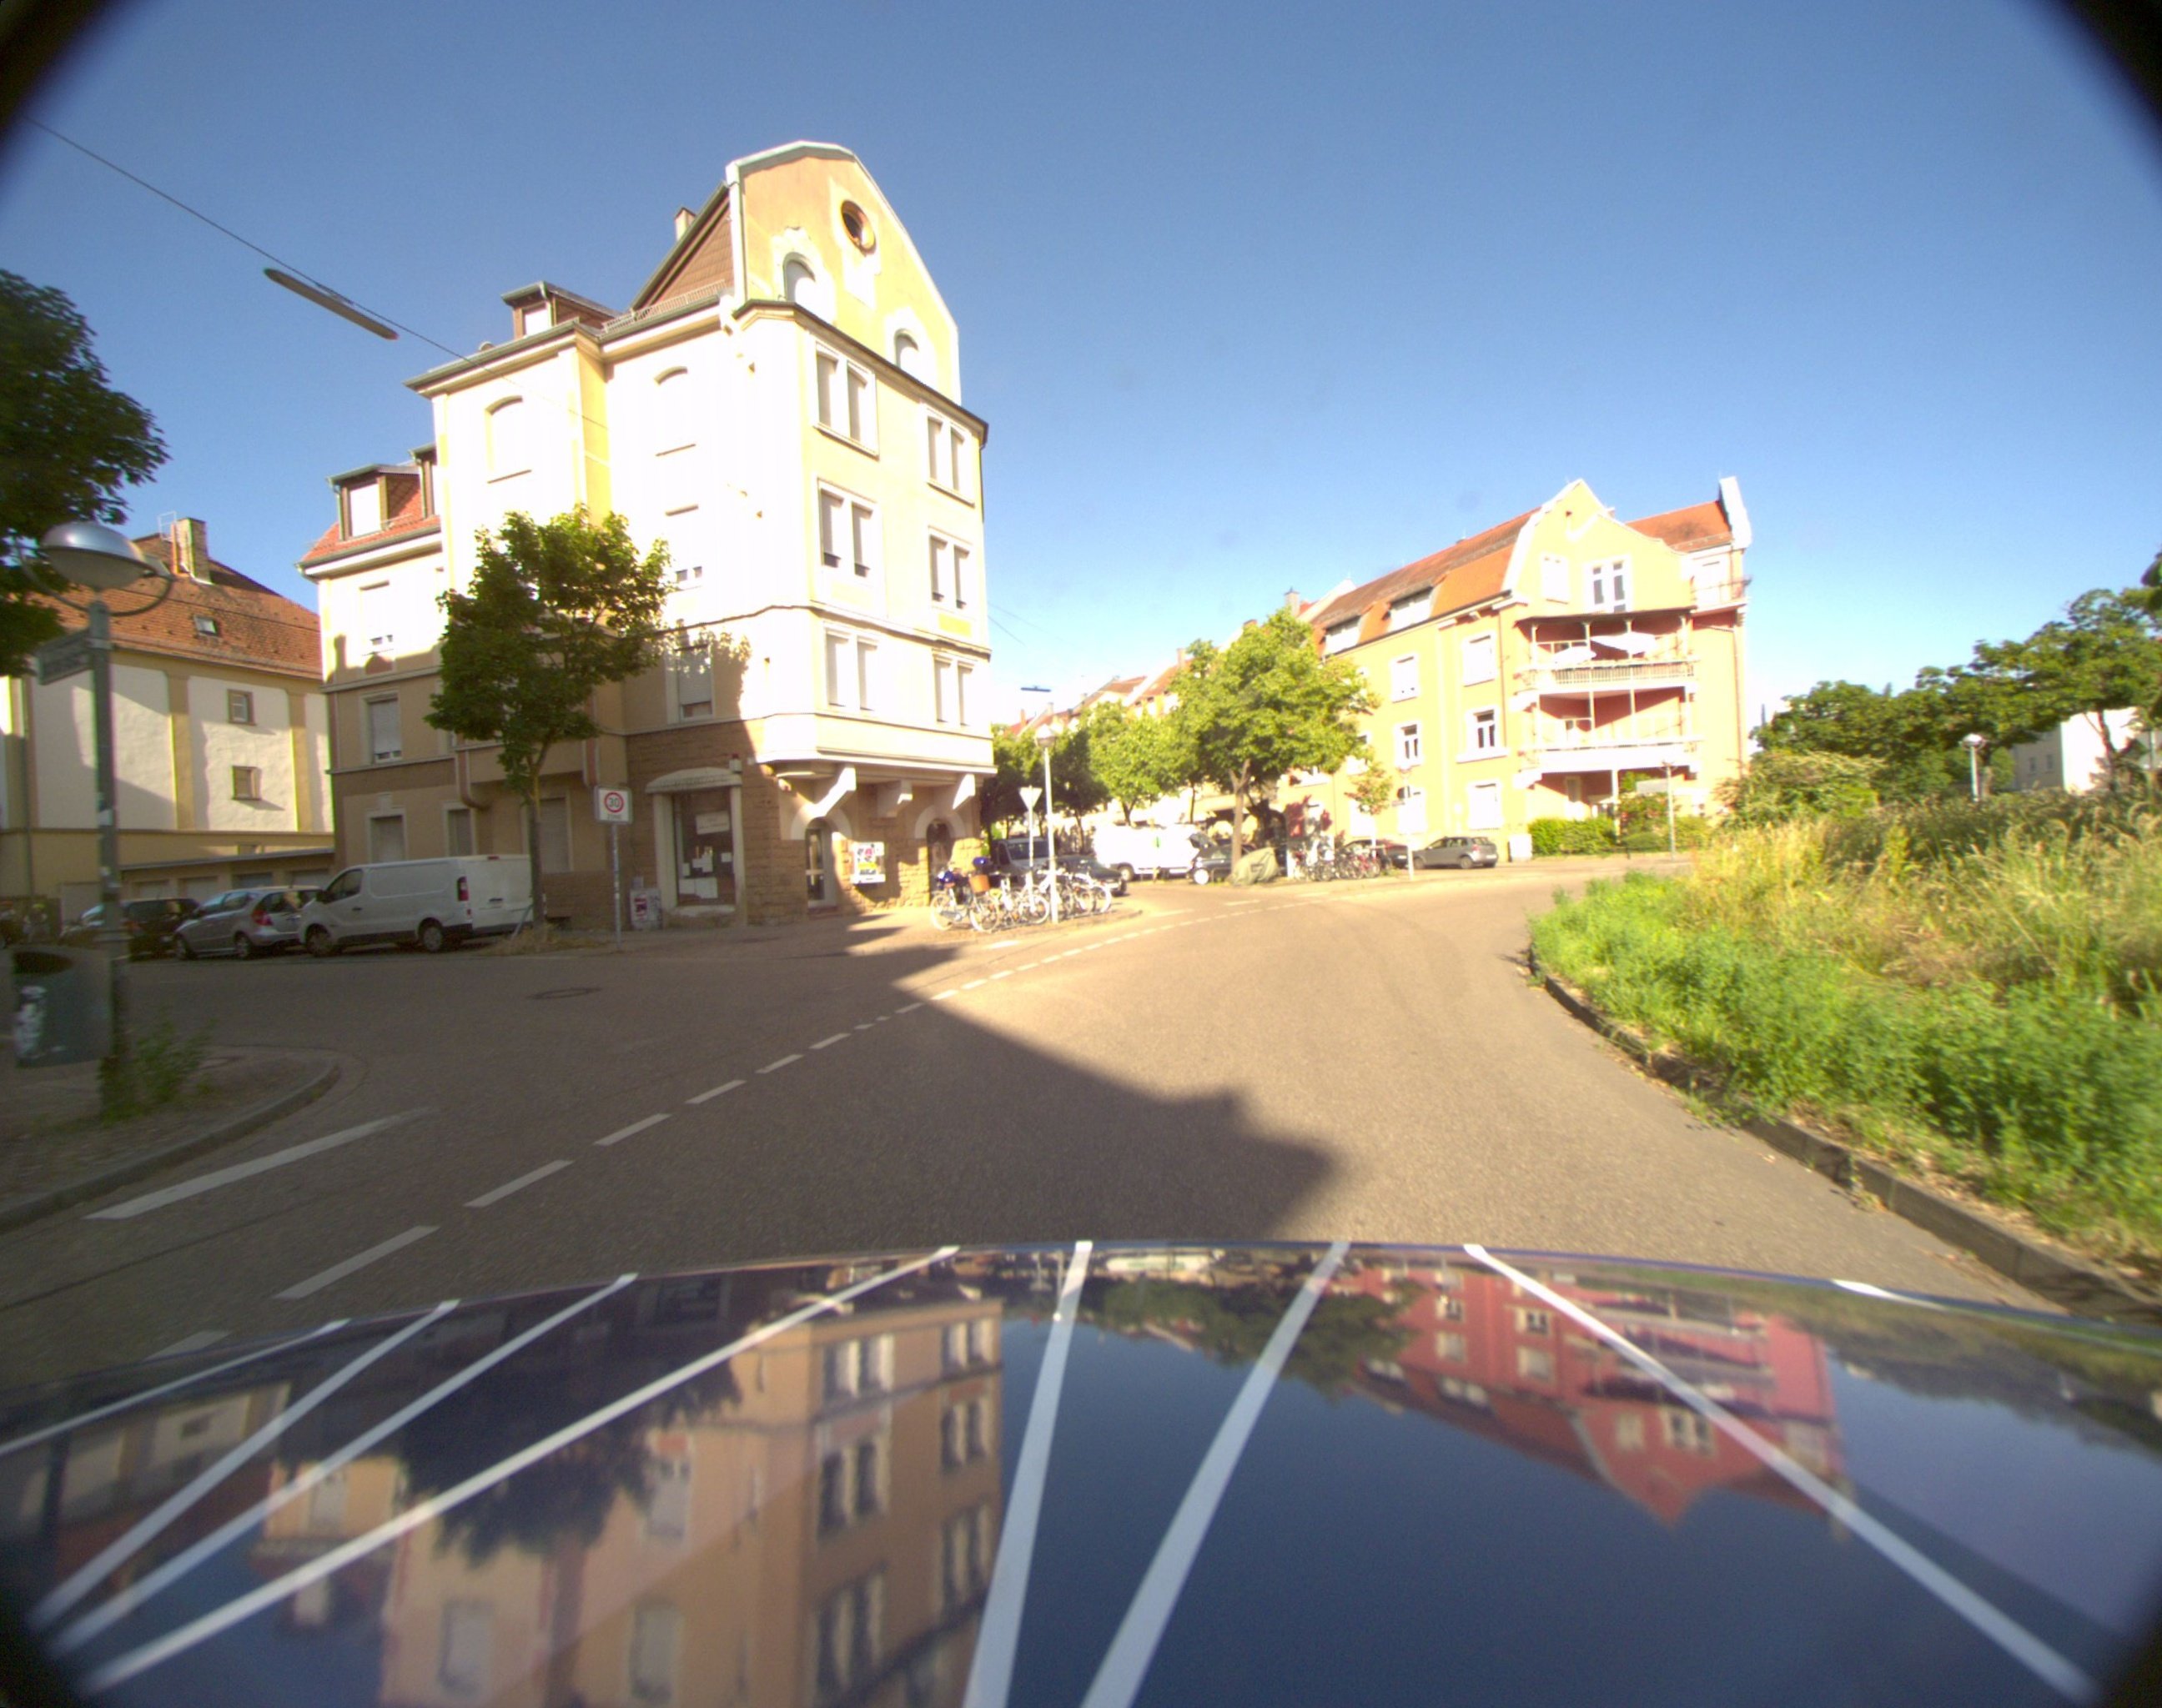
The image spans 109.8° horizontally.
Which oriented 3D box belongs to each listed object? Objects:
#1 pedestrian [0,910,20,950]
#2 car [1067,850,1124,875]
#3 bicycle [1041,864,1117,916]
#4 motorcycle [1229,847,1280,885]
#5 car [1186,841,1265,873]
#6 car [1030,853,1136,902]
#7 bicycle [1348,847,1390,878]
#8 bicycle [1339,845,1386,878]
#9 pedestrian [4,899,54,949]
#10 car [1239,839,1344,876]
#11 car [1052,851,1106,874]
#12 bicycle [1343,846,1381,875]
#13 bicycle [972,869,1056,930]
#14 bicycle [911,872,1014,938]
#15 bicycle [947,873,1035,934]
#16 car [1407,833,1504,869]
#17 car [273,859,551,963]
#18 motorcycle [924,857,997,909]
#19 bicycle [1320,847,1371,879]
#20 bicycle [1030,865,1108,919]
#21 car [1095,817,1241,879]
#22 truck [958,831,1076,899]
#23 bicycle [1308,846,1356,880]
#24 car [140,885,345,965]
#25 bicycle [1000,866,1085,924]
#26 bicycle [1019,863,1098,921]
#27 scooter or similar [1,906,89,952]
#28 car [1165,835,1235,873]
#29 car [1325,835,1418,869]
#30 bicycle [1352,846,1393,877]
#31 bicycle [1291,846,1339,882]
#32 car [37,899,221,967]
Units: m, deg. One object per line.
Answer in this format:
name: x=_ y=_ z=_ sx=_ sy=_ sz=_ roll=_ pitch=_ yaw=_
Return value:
pedestrian: x=-36.489 y=2.583 z=25.686 sx=0.554 sy=1.323 sz=0.539 roll=-3 pitch=0 yaw=18
car: x=0.953 y=0.544 z=48.943 sx=3.378 sy=1.461 sz=1.690 roll=-2 pitch=0 yaw=12
bicycle: x=-0.050 y=0.826 z=17.251 sx=1.714 sy=1.117 sz=0.484 roll=-2 pitch=1 yaw=36
motorcycle: x=6.047 y=0.400 z=26.455 sx=1.713 sy=1.263 sz=0.537 roll=-2 pitch=1 yaw=-21
car: x=7.055 y=0.148 z=37.190 sx=3.385 sy=1.438 sz=1.686 roll=-2 pitch=0 yaw=-12
car: x=-0.021 y=0.748 z=25.218 sx=1.690 sy=1.382 sz=3.913 roll=-4 pitch=1 yaw=-30
bicycle: x=10.460 y=0.296 z=27.636 sx=0.419 sy=1.083 sz=1.571 roll=-5 pitch=2 yaw=-23
bicycle: x=10.055 y=0.274 z=27.199 sx=0.500 sy=1.096 sz=1.647 roll=-5 pitch=2 yaw=-23
pedestrian: x=-36.498 y=2.430 z=26.359 sx=0.772 sy=1.651 sz=0.770 roll=-3 pitch=0 yaw=18
car: x=8.881 y=0.157 z=32.259 sx=3.919 sy=1.438 sz=1.688 roll=-2 pitch=0 yaw=-1
car: x=-0.117 y=0.551 z=51.831 sx=3.378 sy=1.461 sz=1.690 roll=-2 pitch=0 yaw=12
bicycle: x=10.919 y=0.238 z=29.573 sx=0.419 sy=1.080 sz=1.523 roll=-4 pitch=2 yaw=-23
bicycle: x=-1.377 y=0.896 z=15.310 sx=1.692 sy=1.139 sz=0.639 roll=-2 pitch=1 yaw=42
bicycle: x=-2.230 y=0.945 z=14.168 sx=1.863 sy=1.123 sz=0.701 roll=-3 pitch=2 yaw=36
bicycle: x=-1.780 y=0.945 z=14.821 sx=1.874 sy=1.084 sz=0.537 roll=-2 pitch=1 yaw=42
car: x=16.495 y=-0.106 z=33.633 sx=1.690 sy=1.438 sz=3.539 roll=-2 pitch=0 yaw=-26
car: x=-14.221 y=1.190 z=16.263 sx=4.553 sy=1.898 sz=2.143 roll=-3 pitch=0 yaw=13
motorcycle: x=-3.411 y=0.801 z=21.711 sx=0.698 sy=1.403 sz=2.255 roll=-1 pitch=0 yaw=33
bicycle: x=9.404 y=0.307 z=27.043 sx=0.658 sy=1.082 sz=1.726 roll=-5 pitch=2 yaw=-25
bicycle: x=-0.282 y=0.841 z=16.810 sx=1.692 sy=1.117 sz=0.484 roll=-3 pitch=1 yaw=33
car: x=4.045 y=-0.222 z=34.950 sx=6.364 sy=2.585 sz=2.106 roll=-2 pitch=0 yaw=14
truck: x=-2.748 y=0.439 z=30.303 sx=2.142 sy=2.279 sz=6.607 roll=-4 pitch=1 yaw=-28
bicycle: x=8.787 y=0.326 z=26.677 sx=0.590 sy=1.120 sz=1.599 roll=-5 pitch=2 yaw=-25
car: x=-19.335 y=1.627 z=17.556 sx=3.731 sy=1.564 sz=1.640 roll=-3 pitch=0 yaw=16
bicycle: x=-0.823 y=0.868 z=15.966 sx=1.692 sy=1.139 sz=0.618 roll=-3 pitch=1 yaw=33
bicycle: x=-0.507 y=0.825 z=16.445 sx=1.692 sy=1.185 sz=0.452 roll=-3 pitch=1 yaw=33
scooter or similar: x=-34.359 y=2.481 z=25.225 sx=1.350 sy=1.372 sz=1.336 roll=-3 pitch=-1 yaw=18
car: x=6.114 y=-0.003 z=39.410 sx=3.380 sy=1.854 sz=1.688 roll=-2 pitch=0 yaw=3
car: x=14.428 y=-0.069 z=37.978 sx=1.690 sy=1.553 sz=4.286 roll=-2 pitch=0 yaw=-26
bicycle: x=10.761 y=0.284 z=28.087 sx=0.419 sy=1.080 sz=1.523 roll=-4 pitch=2 yaw=-23
bicycle: x=8.090 y=0.343 z=26.308 sx=0.539 sy=1.186 sz=1.676 roll=-4 pitch=2 yaw=-25
car: x=-23.576 y=1.942 z=18.849 sx=3.327 sy=1.419 sz=1.640 roll=-3 pitch=0 yaw=16
